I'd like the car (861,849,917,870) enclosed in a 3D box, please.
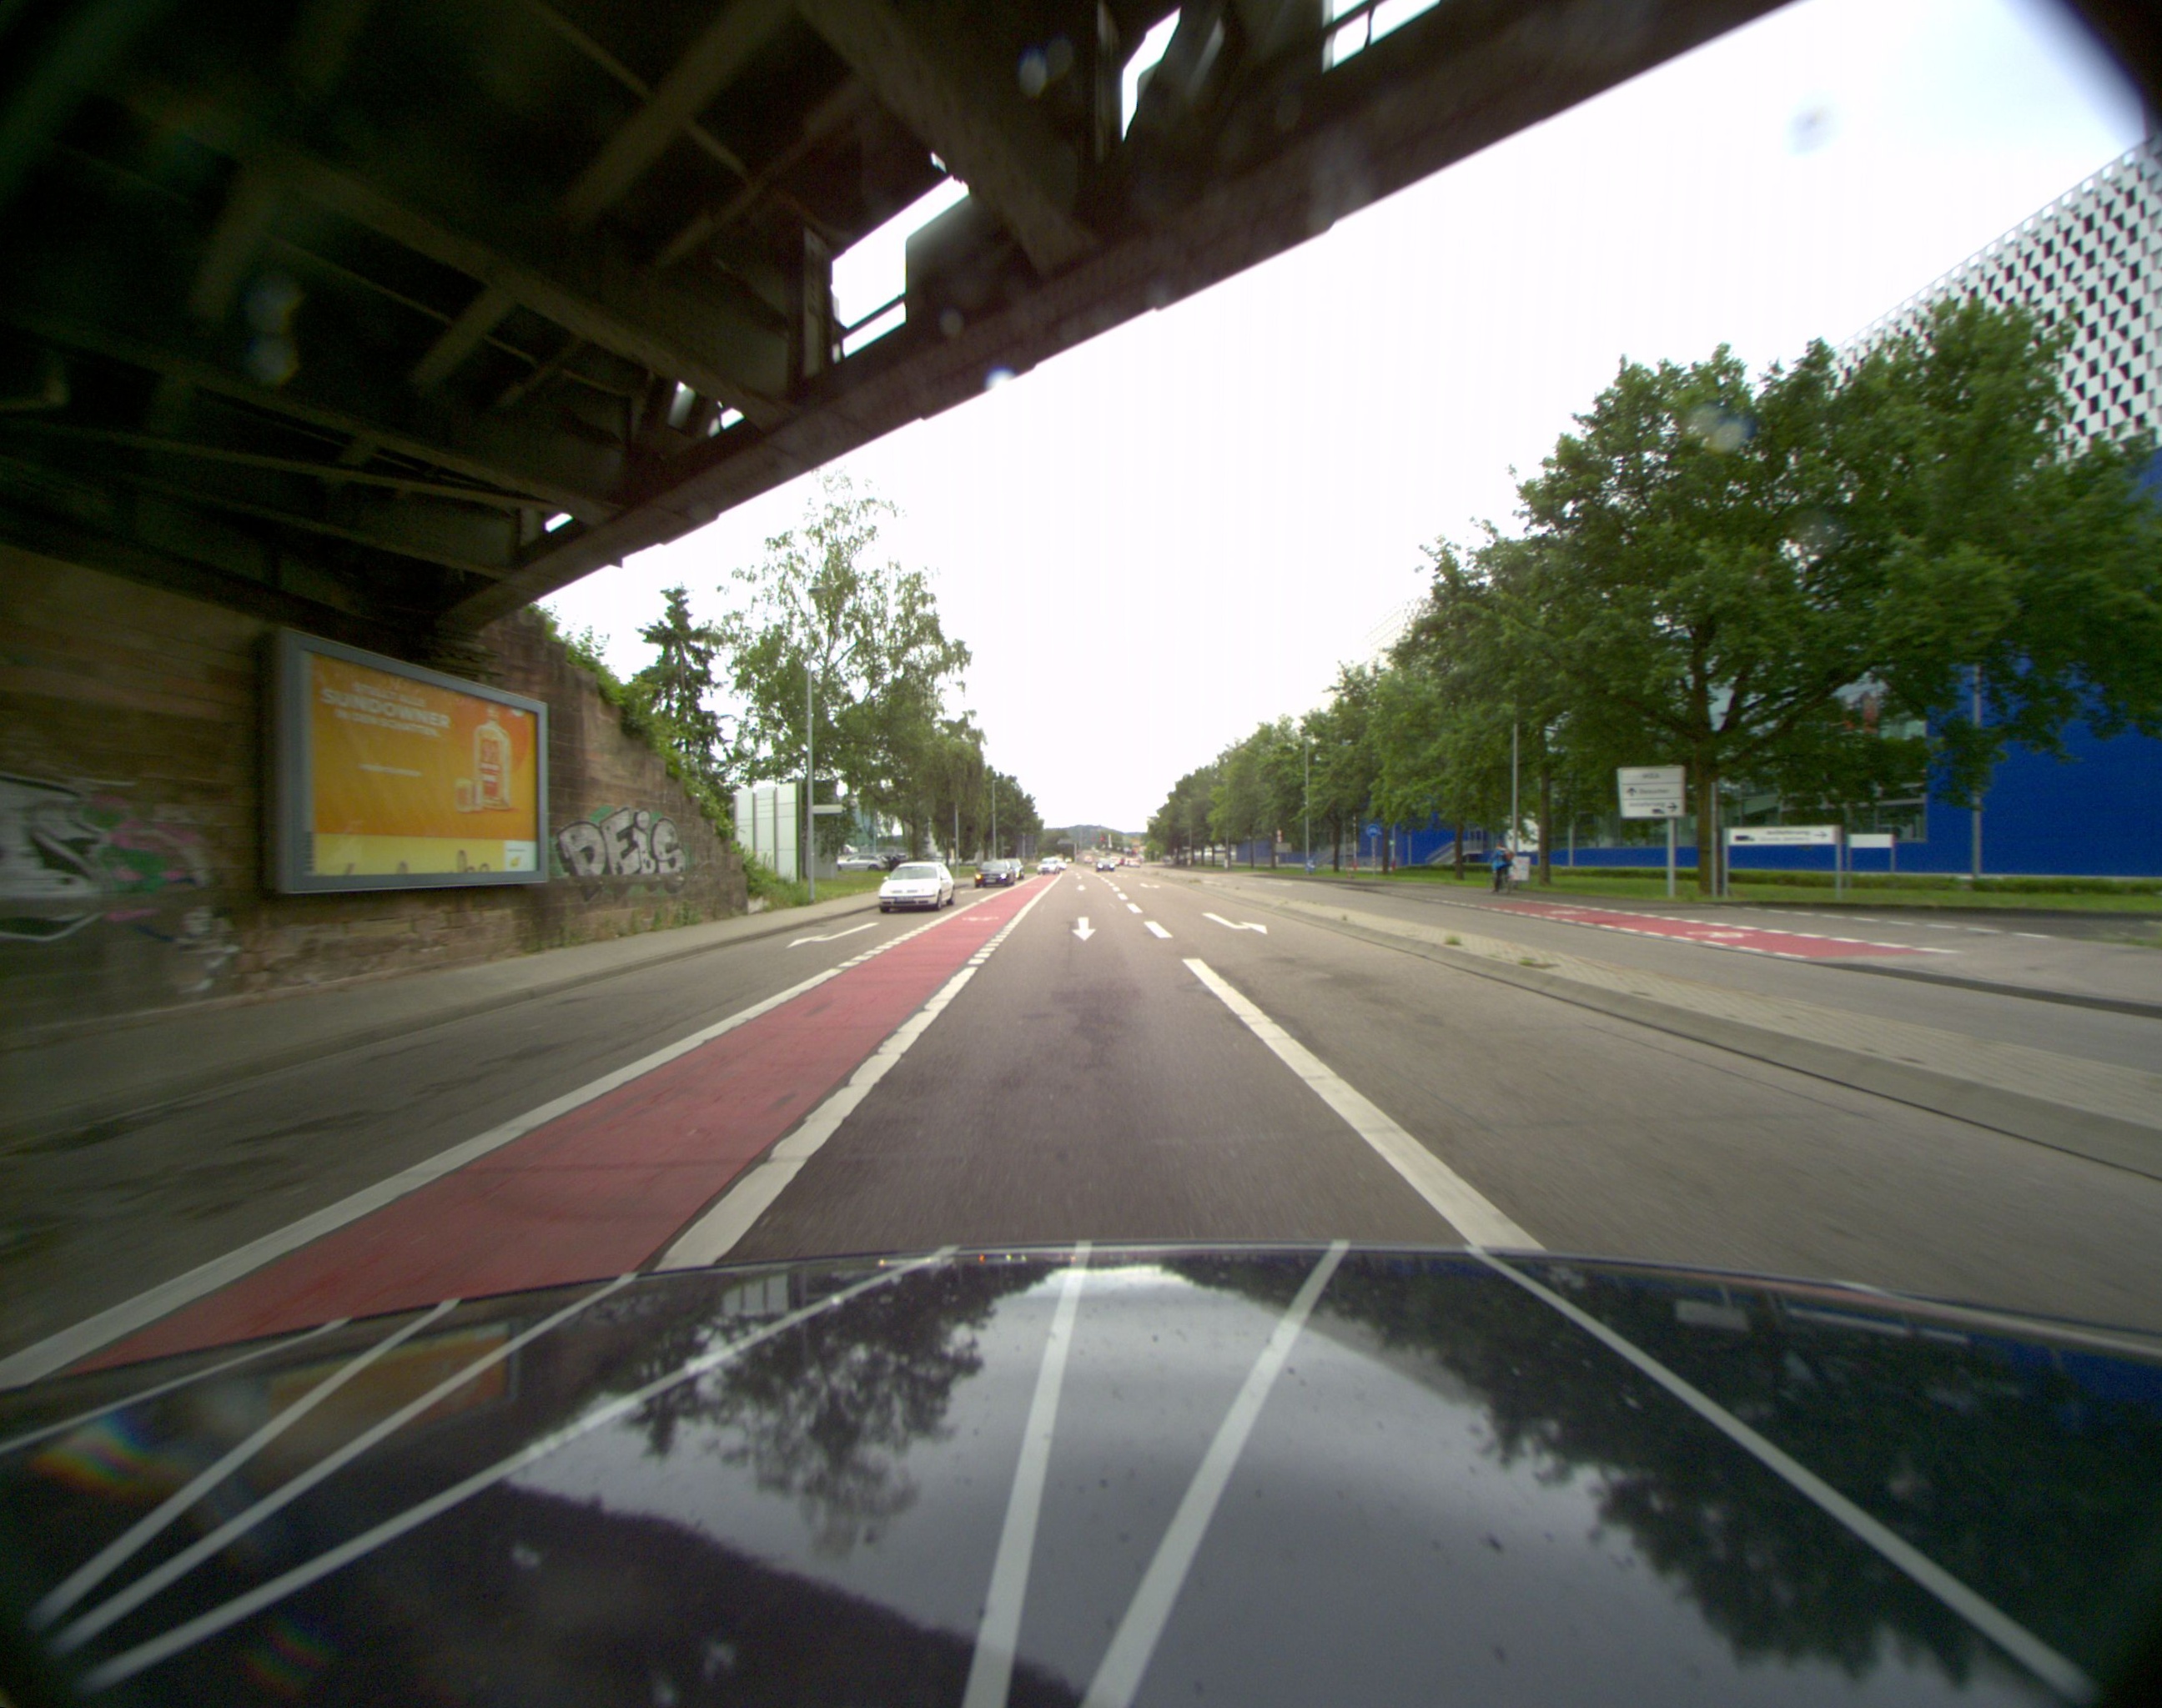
[{"bbox_3d":[-16.655,0.453,66.041,4.308,1.591,1.969,-3,0,1],"label":"car"}]

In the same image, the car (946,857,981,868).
[{"bbox_3d":[-17.122,1.253,110.586,4.763,1.416,1.902,-3,0,-1],"label":"car"}]

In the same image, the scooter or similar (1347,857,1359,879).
[{"bbox_3d":[16.553,0.863,46.251,0.448,1.314,1.506,0,0,10],"label":"scooter or similar"}]

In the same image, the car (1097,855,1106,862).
[{"bbox_3d":[4.924,1.078,182.581,1.651,1.787,3.979,2,0,-7],"label":"car"}]

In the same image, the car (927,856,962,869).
[{"bbox_3d":[-17.096,1.072,95.440,4.056,1.369,1.795,-3,0,0],"label":"car"}]

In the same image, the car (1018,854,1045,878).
[{"bbox_3d":[-3.597,0.826,54.772,1.788,1.637,3.998,0,0,-6],"label":"car"}]

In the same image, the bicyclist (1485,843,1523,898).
[{"bbox_3d":[14.575,0.555,26.218,0.703,1.863,1.020,-2,1,0],"label":"bicyclist"}]

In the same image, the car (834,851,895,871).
[{"bbox_3d":[-16.854,0.519,59.383,4.310,1.480,1.739,-1,0,-6],"label":"car"}]

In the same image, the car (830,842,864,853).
[{"bbox_3d":[-33.660,-0.876,109.264,4.309,1.355,1.832,-3,0,-2],"label":"car"}]

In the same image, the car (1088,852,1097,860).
[{"bbox_3d":[2.719,0.480,180.876,1.651,1.787,3.979,1,0,-7],"label":"car"}]

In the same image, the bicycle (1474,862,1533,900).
[{"bbox_3d":[14.589,0.895,26.328,0.714,1.180,2.370,-2,1,0],"label":"bicycle"}]

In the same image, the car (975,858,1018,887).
[{"bbox_3d":[-4.484,0.952,40.660,1.837,1.415,4.000,-2,0,0],"label":"car"}]

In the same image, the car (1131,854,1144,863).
[{"bbox_3d":[9.837,0.791,131.999,1.681,1.420,3.650,1,0,-3],"label":"car"}]

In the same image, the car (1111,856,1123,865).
[{"bbox_3d":[6.423,1.164,136.161,1.822,1.577,4.513,2,0,-1],"label":"car"}]

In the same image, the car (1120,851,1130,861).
[{"bbox_3d":[9.020,0.376,156.210,1.772,1.913,4.908,1,0,-2],"label":"car"}]

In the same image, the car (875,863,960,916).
[{"bbox_3d":[-4.899,1.019,23.282,1.726,1.415,3.941,-2,0,-1],"label":"car"}]

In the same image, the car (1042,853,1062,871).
[{"bbox_3d":[-2.930,0.791,76.170,1.995,1.838,4.103,0,0,-3],"label":"car"}]

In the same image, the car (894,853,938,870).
[{"bbox_3d":[-16.023,0.764,73.952,3.761,1.415,1.953,-3,0,-1],"label":"car"}]

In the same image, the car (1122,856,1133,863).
[{"bbox_3d":[8.731,1.018,142.515,1.628,1.414,3.611,1,0,-1],"label":"car"}]

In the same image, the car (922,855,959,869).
[{"bbox_3d":[-17.169,0.997,93.017,4.199,1.423,1.739,-3,0,-1],"label":"car"}]

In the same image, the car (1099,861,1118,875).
[{"bbox_3d":[2.944,1.505,81.826,1.837,1.415,4.000,-2,0,0],"label":"car"}]

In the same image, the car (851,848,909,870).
[{"bbox_3d":[-16.754,0.438,63.416,4.309,1.591,1.969,-3,0,-2],"label":"car"}]

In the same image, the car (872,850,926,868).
[{"bbox_3d":[-16.427,0.454,68.741,4.308,1.374,1.902,-3,0,1],"label":"car"}]

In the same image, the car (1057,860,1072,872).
[{"bbox_3d":[-2.135,1.573,100.875,1.837,1.415,4.000,-2,0,0],"label":"car"}]
